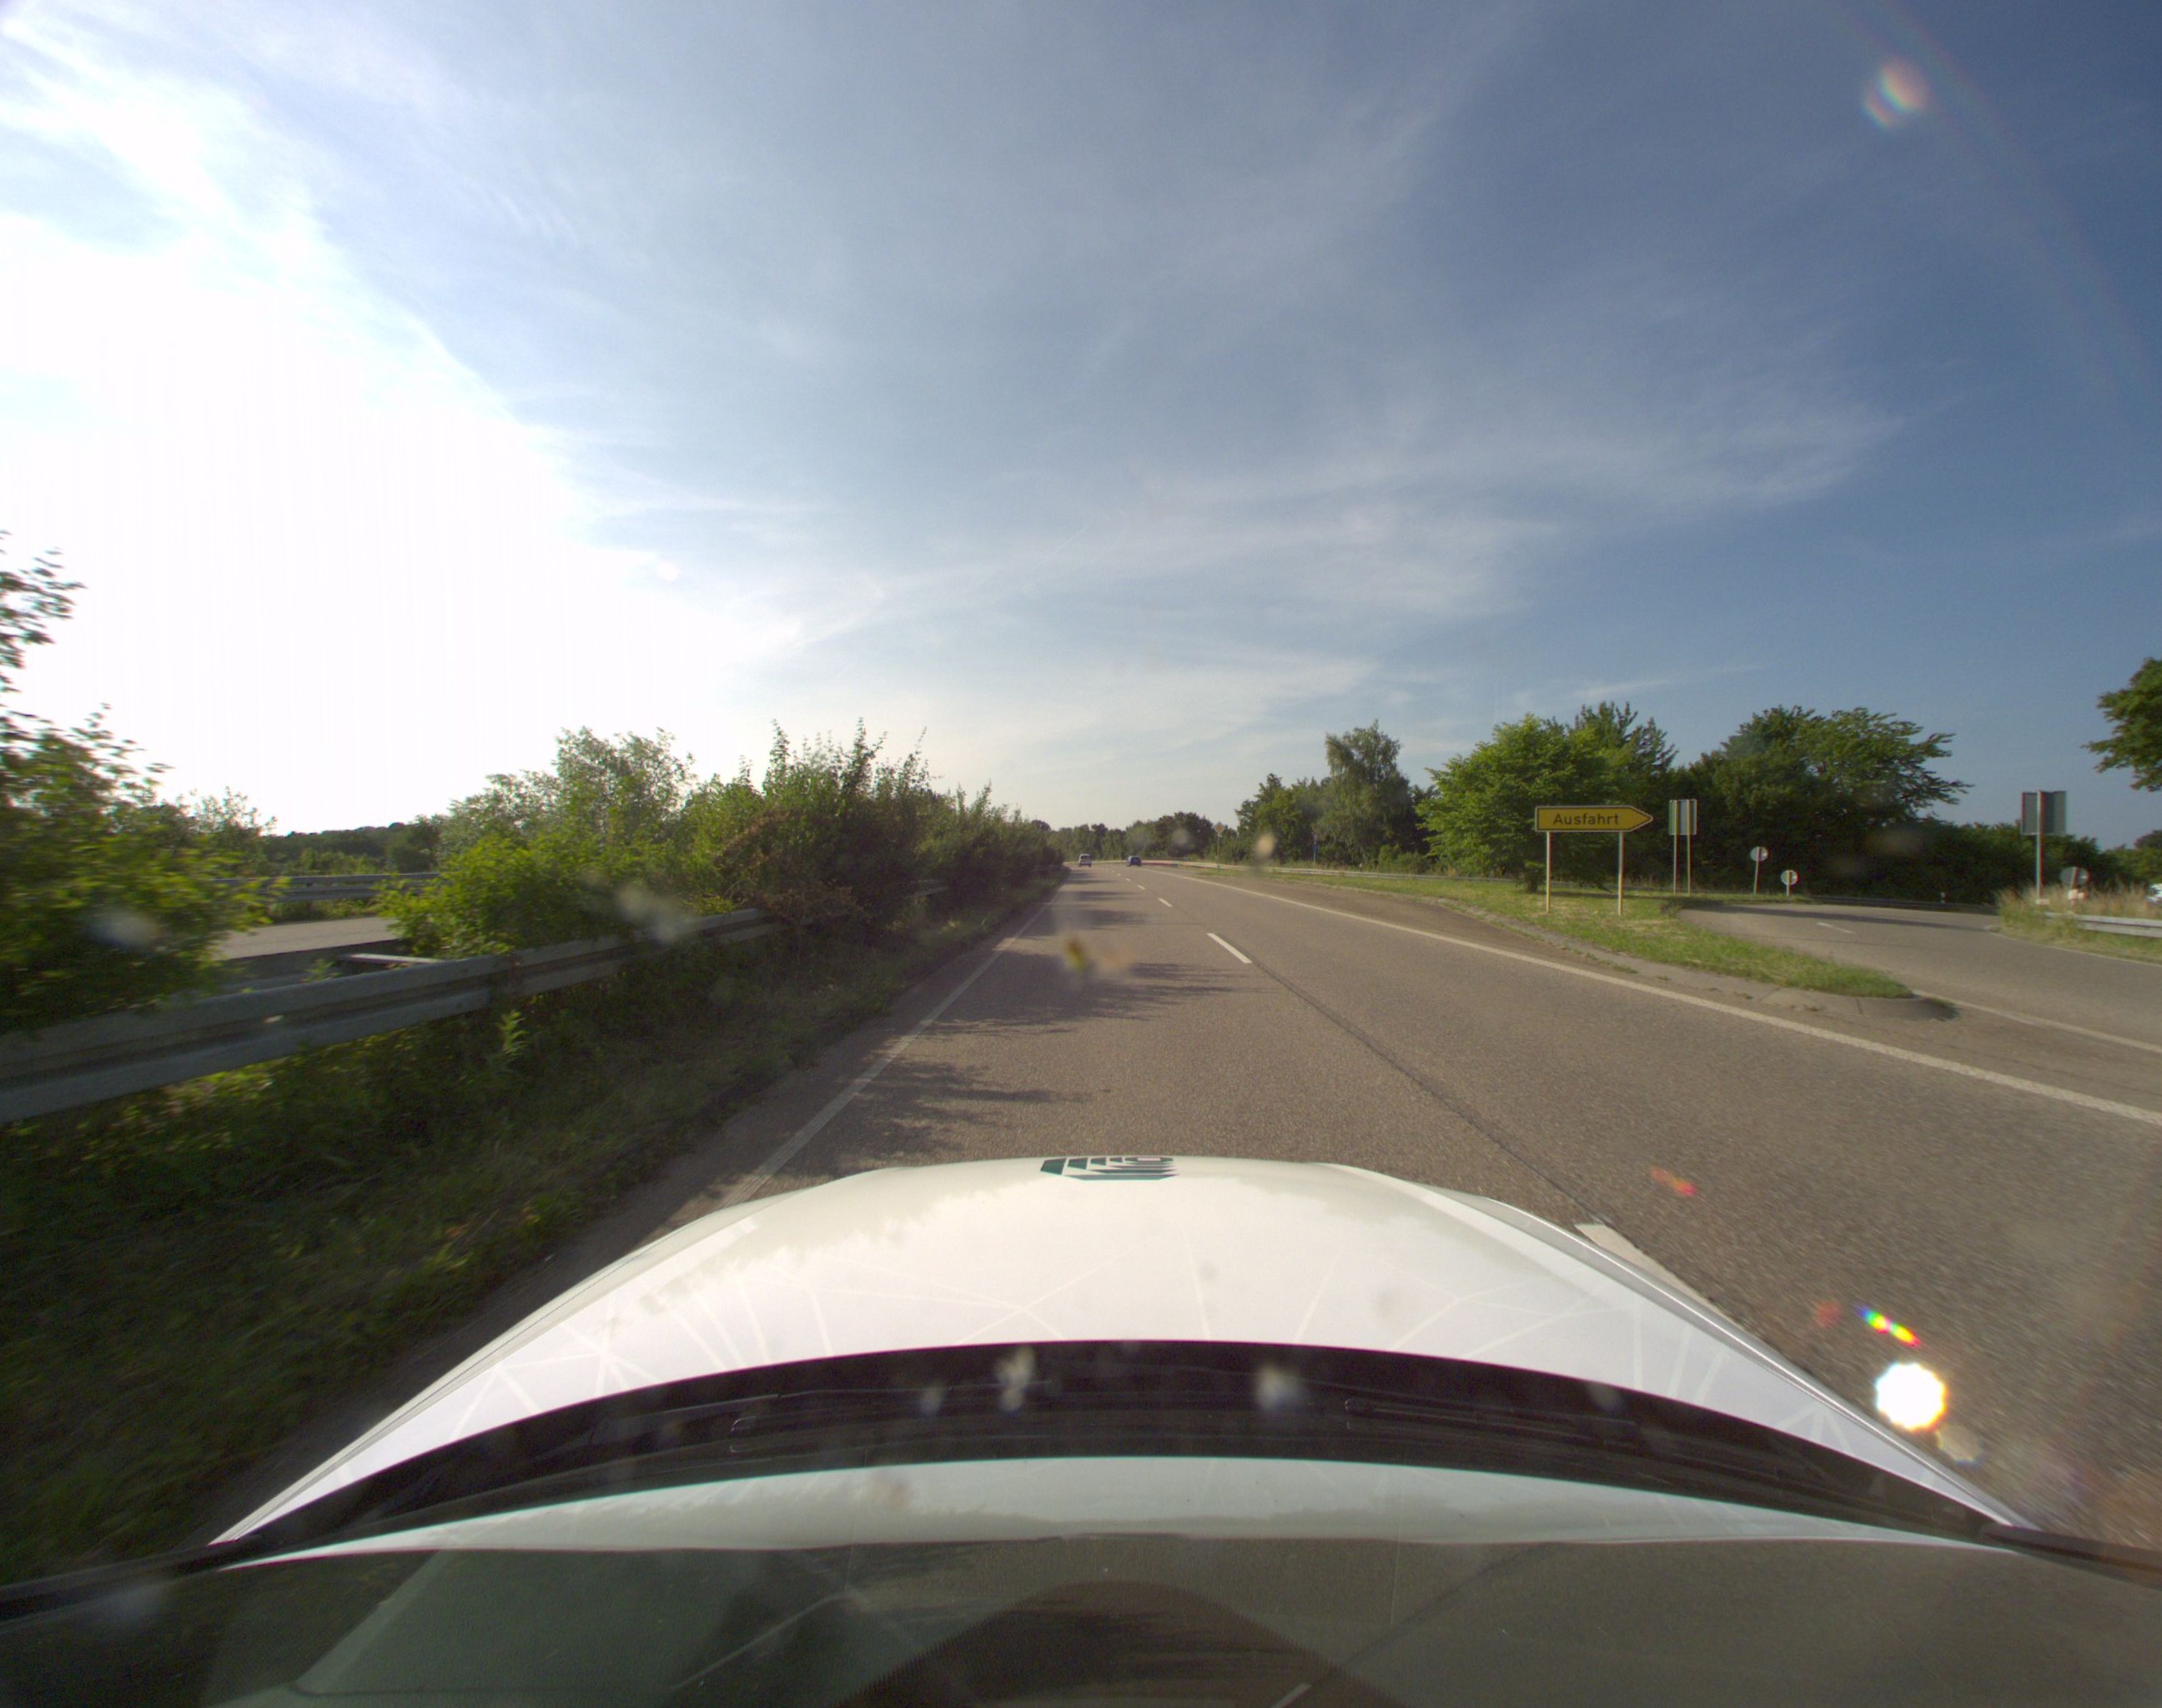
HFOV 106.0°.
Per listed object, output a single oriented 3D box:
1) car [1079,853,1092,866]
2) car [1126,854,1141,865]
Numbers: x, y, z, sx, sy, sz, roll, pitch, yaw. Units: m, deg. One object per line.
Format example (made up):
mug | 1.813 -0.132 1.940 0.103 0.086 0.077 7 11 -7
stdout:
car | 0.640 0.779 118.088 1.760 1.882 3.999 -1 -1 0
car | 7.358 0.804 113.665 1.773 1.452 3.999 -1 -1 0
